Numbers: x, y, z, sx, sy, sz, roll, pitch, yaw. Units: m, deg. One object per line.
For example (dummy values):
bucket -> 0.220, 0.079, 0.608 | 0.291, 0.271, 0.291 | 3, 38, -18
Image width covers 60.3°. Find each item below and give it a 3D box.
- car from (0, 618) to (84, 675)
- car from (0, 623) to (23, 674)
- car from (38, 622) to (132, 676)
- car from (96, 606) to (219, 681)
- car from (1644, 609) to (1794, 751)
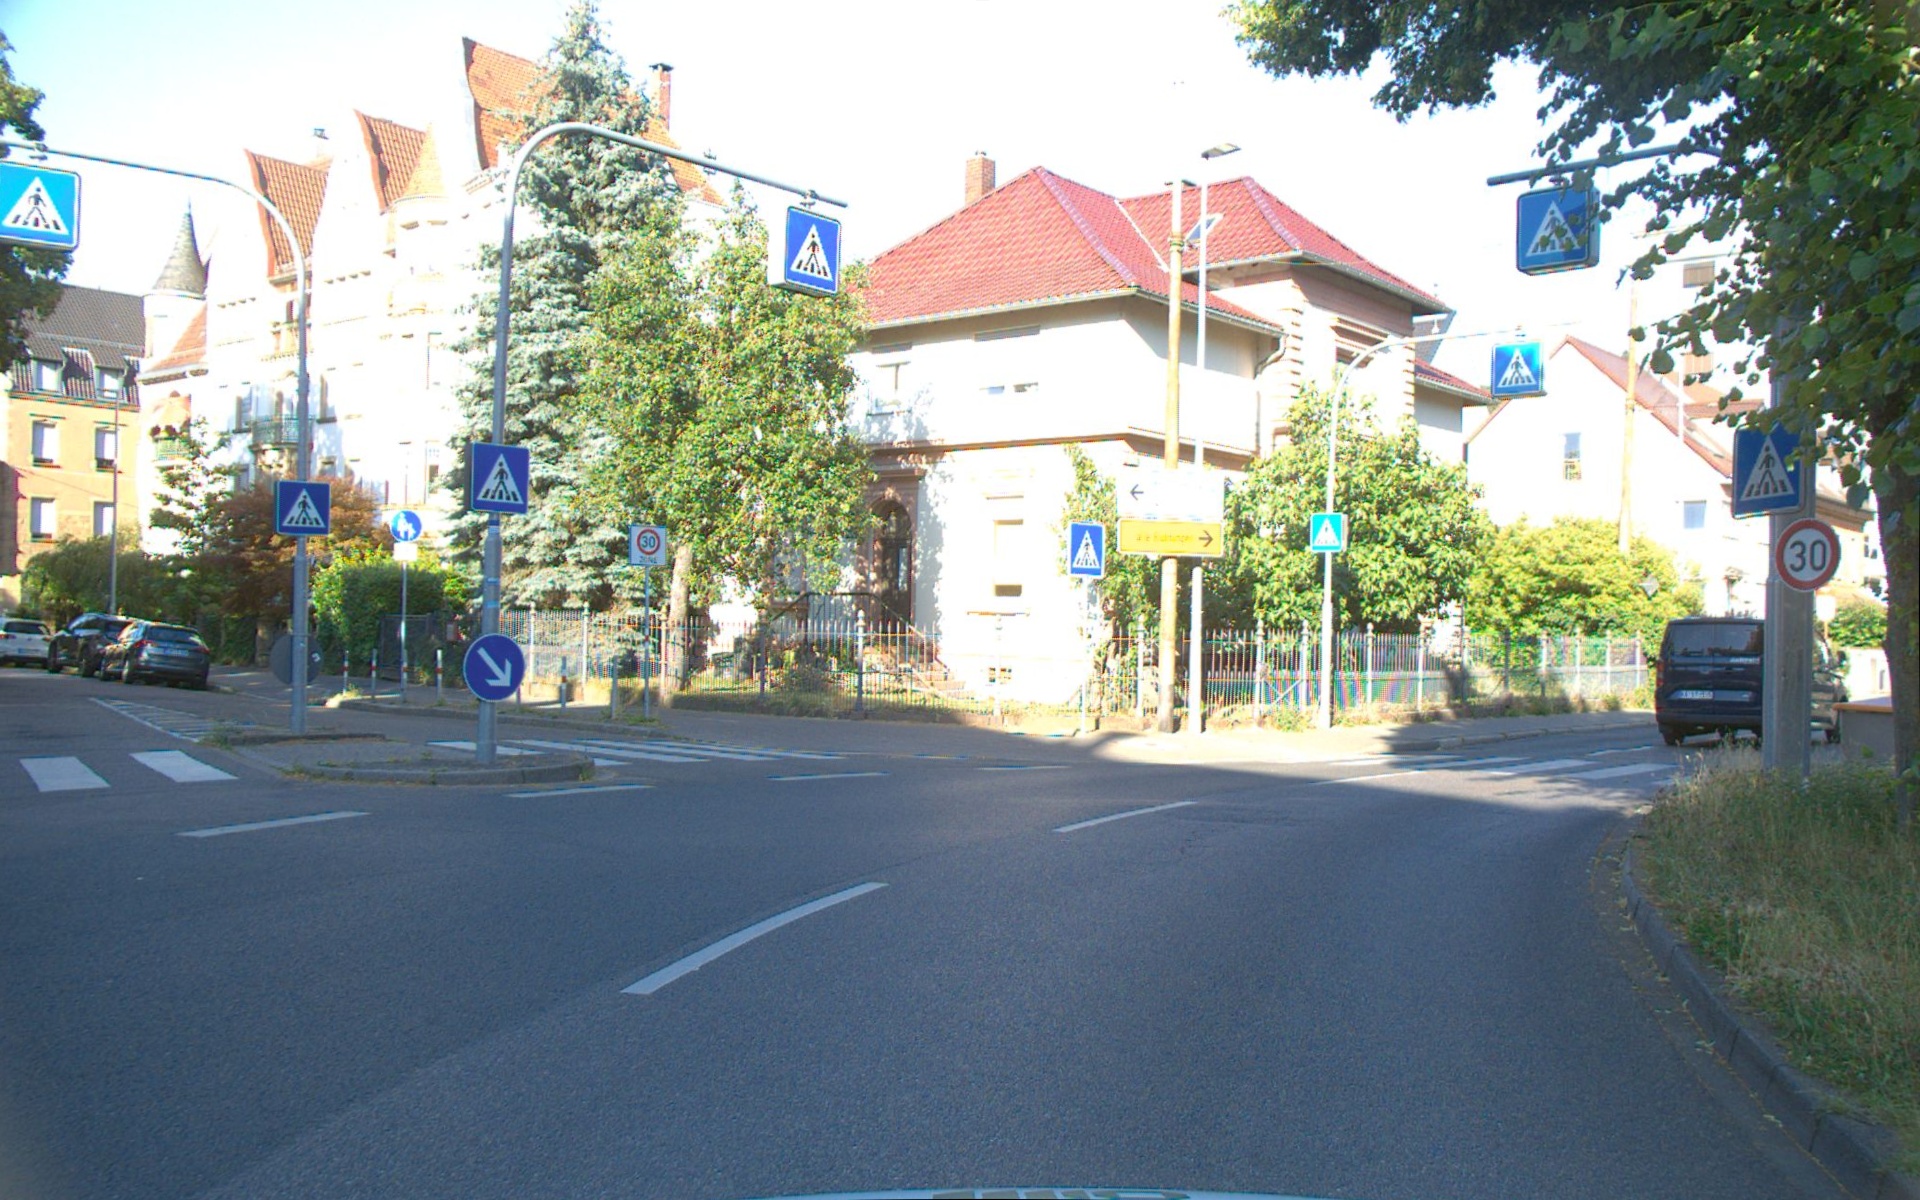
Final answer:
car -> -28.886, 1.386, 50.639 | 2.330, 1.624, 4.848 | 3, -2, -44
car -> -32.860, 1.521, 54.247 | 4.843, 1.624, 2.332 | 0, -2, 43
car -> -22.170, 1.222, 41.852 | 1.642, 1.258, 3.751 | 3, -2, -34
car -> -18.739, 0.994, 38.538 | 1.977, 1.624, 3.951 | 3, -2, -35
car -> 12.371, 1.241, 26.827 | 1.955, 2.049, 3.994 | 1, -1, 28
